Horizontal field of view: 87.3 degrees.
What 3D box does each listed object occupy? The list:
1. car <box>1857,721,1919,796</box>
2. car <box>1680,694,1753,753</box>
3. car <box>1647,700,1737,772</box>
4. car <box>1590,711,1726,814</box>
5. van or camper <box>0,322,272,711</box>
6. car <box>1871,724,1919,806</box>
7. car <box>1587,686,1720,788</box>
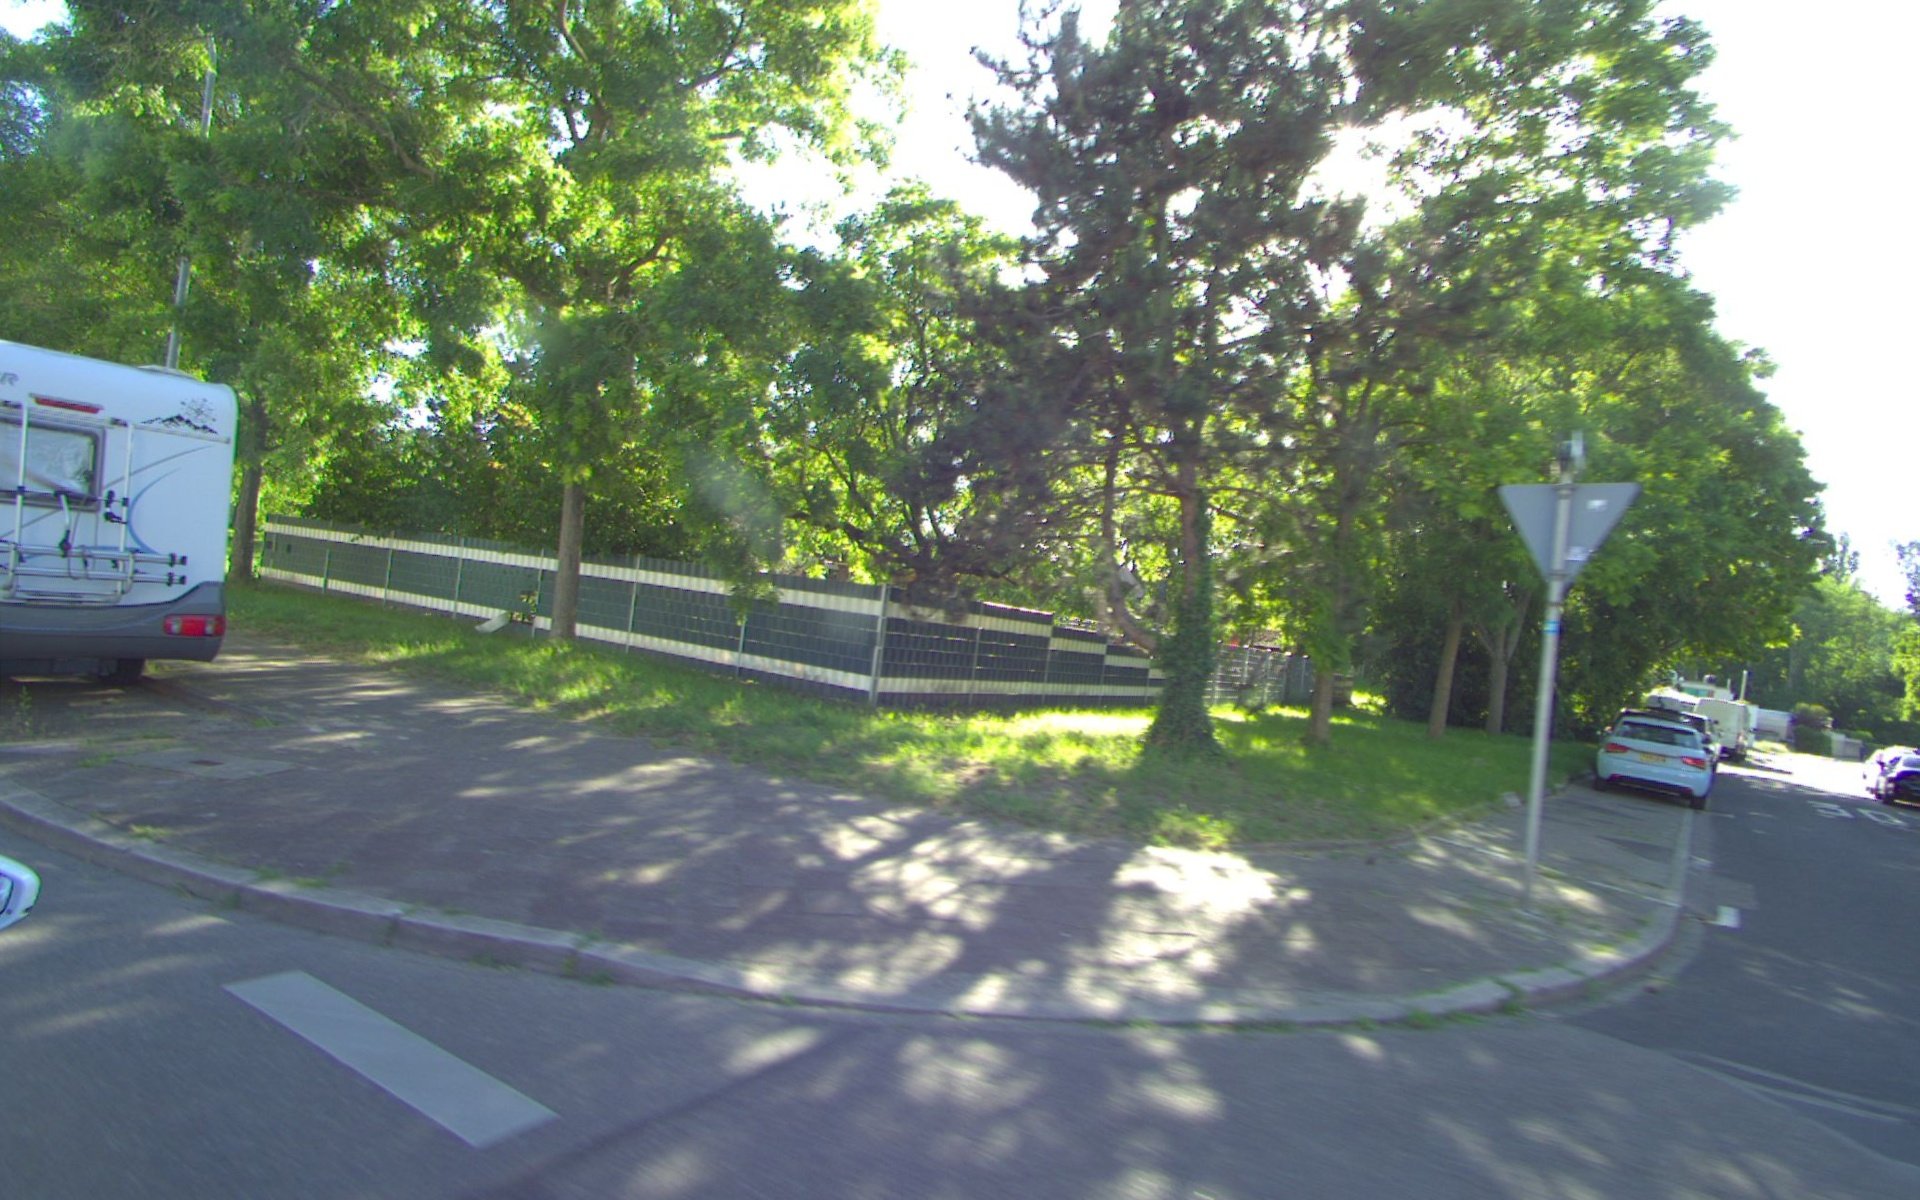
[{"bbox_3d":[30.485,5.135,32.406,2.136,2.036,4.498,8,-1,42],"label":"car"},{"bbox_3d":[35.120,5.692,46.641,2.235,2.289,5.055,7,0,40],"label":"car"},{"bbox_3d":[23.413,4.287,32.098,1.970,1.829,4.452,8,0,39],"label":"car"},{"bbox_3d":[13.066,2.953,18.953,1.758,1.413,3.870,9,0,34],"label":"car"},{"bbox_3d":[-8.926,-0.864,8.870,6.320,2.631,2.351,7,3,33],"label":"van or camper"},{"bbox_3d":[26.787,4.610,27.603,2.134,2.036,4.502,8,-1,39],"label":"car"},{"bbox_3d":[16.101,3.135,23.280,1.972,1.873,3.863,7,-1,41],"label":"car"}]
